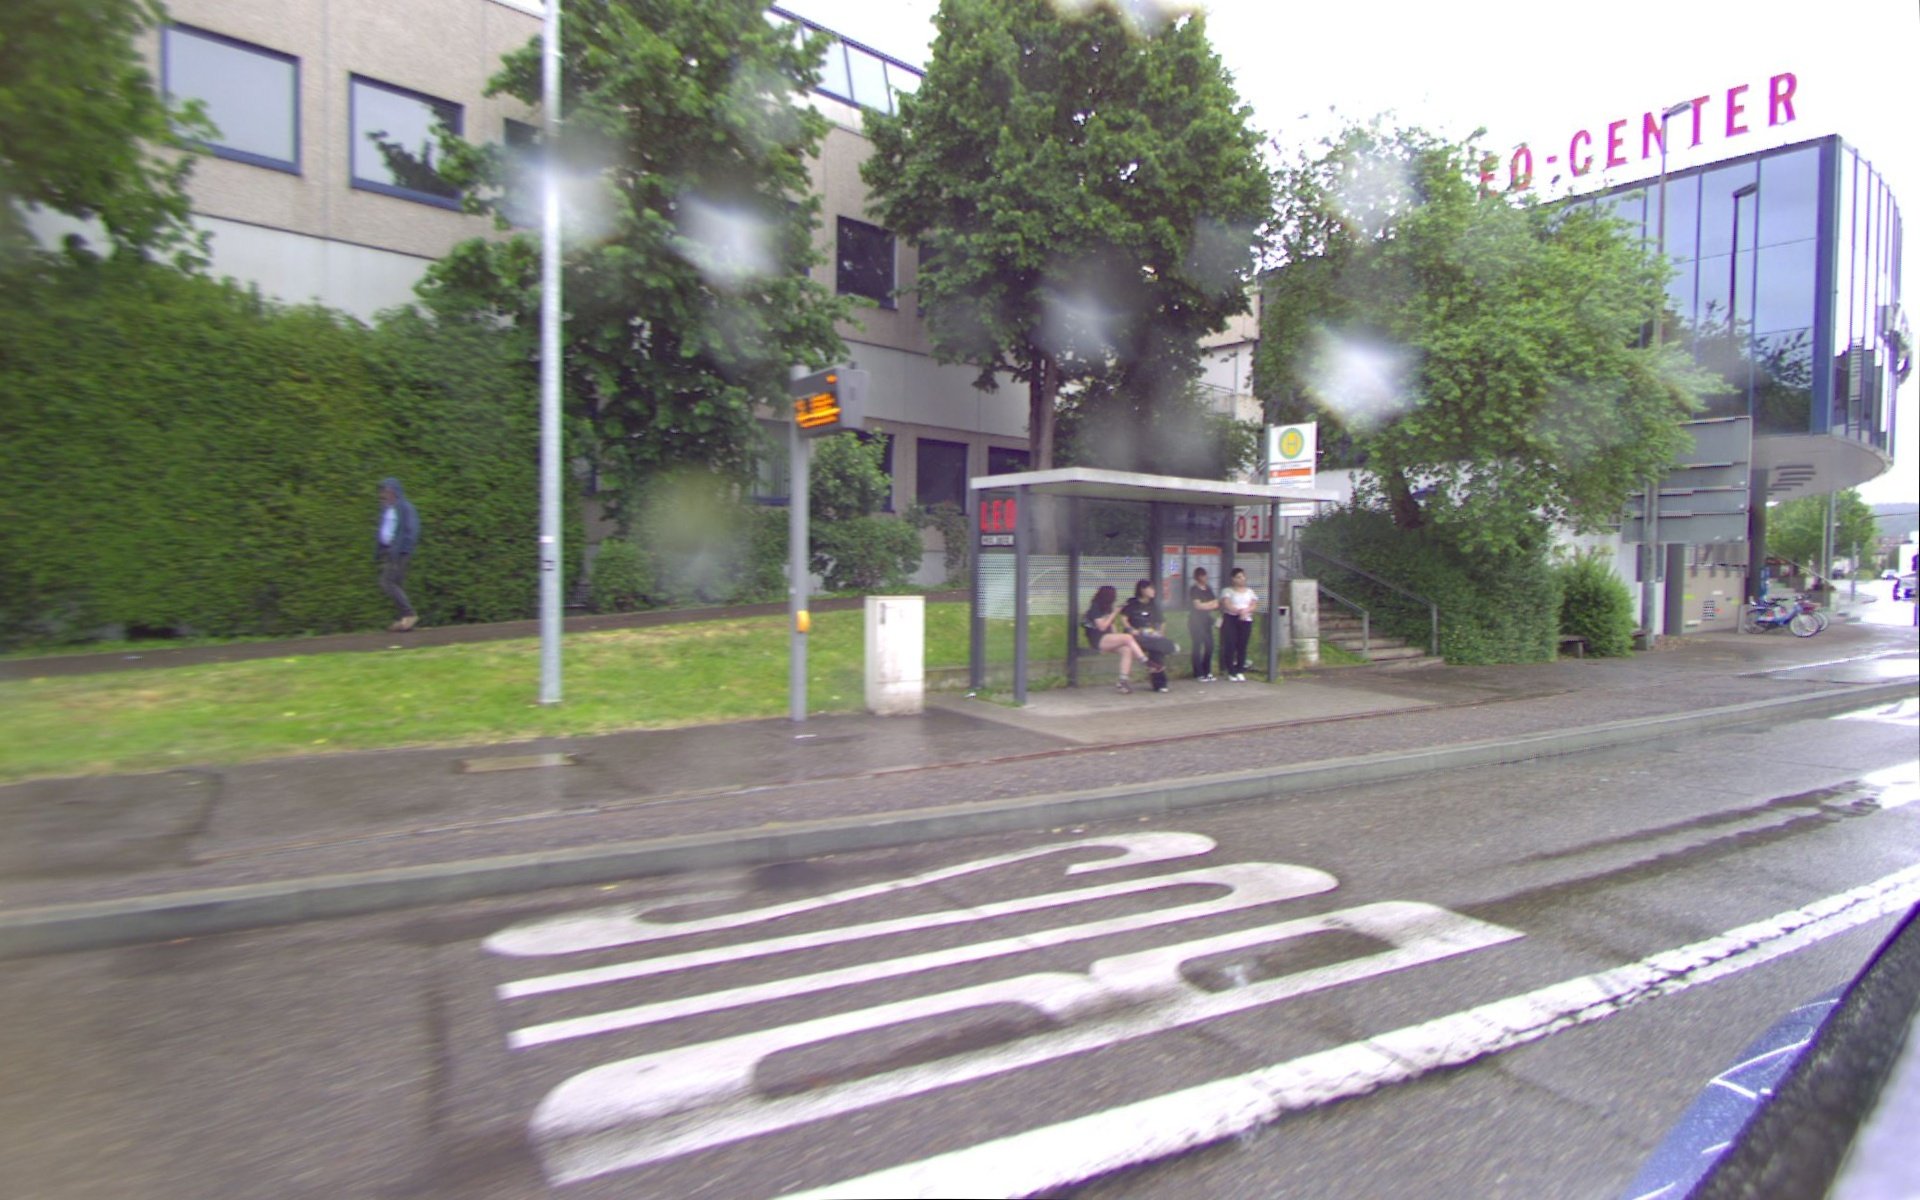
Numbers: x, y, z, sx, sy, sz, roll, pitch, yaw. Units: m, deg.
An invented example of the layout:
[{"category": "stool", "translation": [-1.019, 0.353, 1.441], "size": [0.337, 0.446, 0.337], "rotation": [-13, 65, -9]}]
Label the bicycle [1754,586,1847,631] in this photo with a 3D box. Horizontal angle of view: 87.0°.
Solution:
[{"category": "bicycle", "translation": [23.076, 0.218, 27.815], "size": [0.681, 1.124, 1.815], "rotation": [0, 3, -38]}]

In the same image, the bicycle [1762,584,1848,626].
[{"category": "bicycle", "translation": [25.087, 0.120, 30.064], "size": [0.681, 1.123, 1.835], "rotation": [-1, 4, -38]}]

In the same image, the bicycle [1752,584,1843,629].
[{"category": "bicycle", "translation": [23.282, 0.161, 28.167], "size": [0.672, 1.098, 1.806], "rotation": [-2, 4, -38]}]

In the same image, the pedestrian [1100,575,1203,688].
[{"category": "pedestrian", "translation": [2.385, 0.357, 12.649], "size": [0.679, 1.297, 1.033], "rotation": [0, 4, -38]}]

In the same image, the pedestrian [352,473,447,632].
[{"category": "pedestrian", "translation": [-6.759, -0.579, 12.202], "size": [0.783, 1.817, 0.849], "rotation": [-5, 3, -38]}]

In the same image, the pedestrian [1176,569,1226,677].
[{"category": "pedestrian", "translation": [3.204, 0.298, 13.494], "size": [0.533, 1.382, 0.411], "rotation": [2, 3, 5]}]

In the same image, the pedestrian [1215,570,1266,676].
[{"category": "pedestrian", "translation": [3.770, 0.298, 13.634], "size": [0.533, 1.382, 0.411], "rotation": [2, 3, 6]}]

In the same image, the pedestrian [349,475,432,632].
[{"category": "pedestrian", "translation": [-6.838, -0.563, 12.149], "size": [0.662, 1.819, 0.673], "rotation": [-4, 4, -40]}]

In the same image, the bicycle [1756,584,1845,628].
[{"category": "bicycle", "translation": [24.038, 0.154, 28.971], "size": [0.681, 1.124, 1.815], "rotation": [0, 3, -38]}]

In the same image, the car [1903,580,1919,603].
[{"category": "car", "translation": [66.780, -0.606, 70.216], "size": [1.895, 1.545, 3.938], "rotation": [1, 2, 43]}]

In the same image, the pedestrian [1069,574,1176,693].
[{"category": "pedestrian", "translation": [1.927, 0.371, 12.048], "size": [0.679, 1.297, 1.033], "rotation": [0, 4, -38]}]
